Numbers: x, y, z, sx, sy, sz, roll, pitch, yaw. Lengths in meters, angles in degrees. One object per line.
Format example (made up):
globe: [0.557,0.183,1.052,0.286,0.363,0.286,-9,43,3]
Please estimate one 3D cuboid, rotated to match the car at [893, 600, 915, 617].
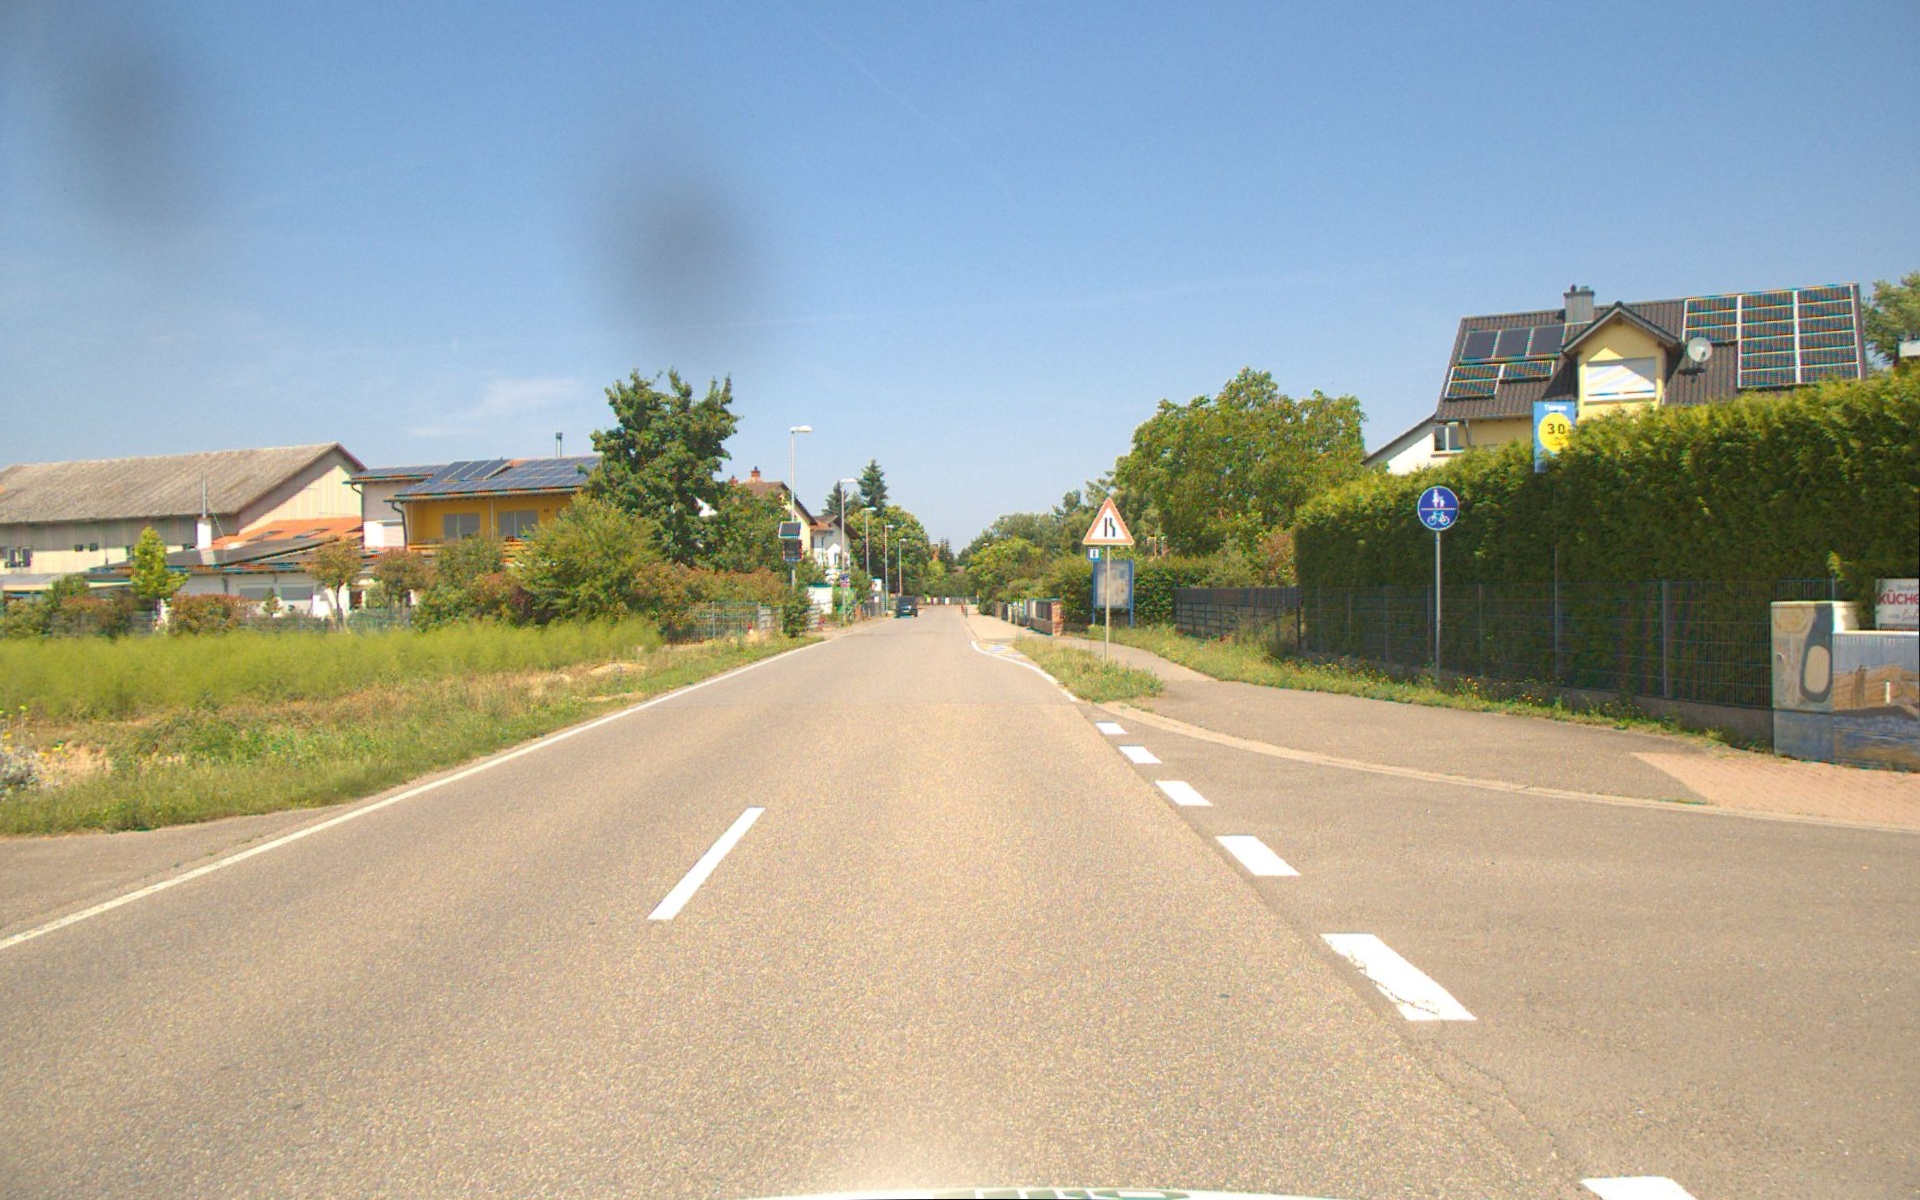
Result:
car: [-4.762,0.715,140.657,1.723,1.409,3.452,-2,0,-1]
